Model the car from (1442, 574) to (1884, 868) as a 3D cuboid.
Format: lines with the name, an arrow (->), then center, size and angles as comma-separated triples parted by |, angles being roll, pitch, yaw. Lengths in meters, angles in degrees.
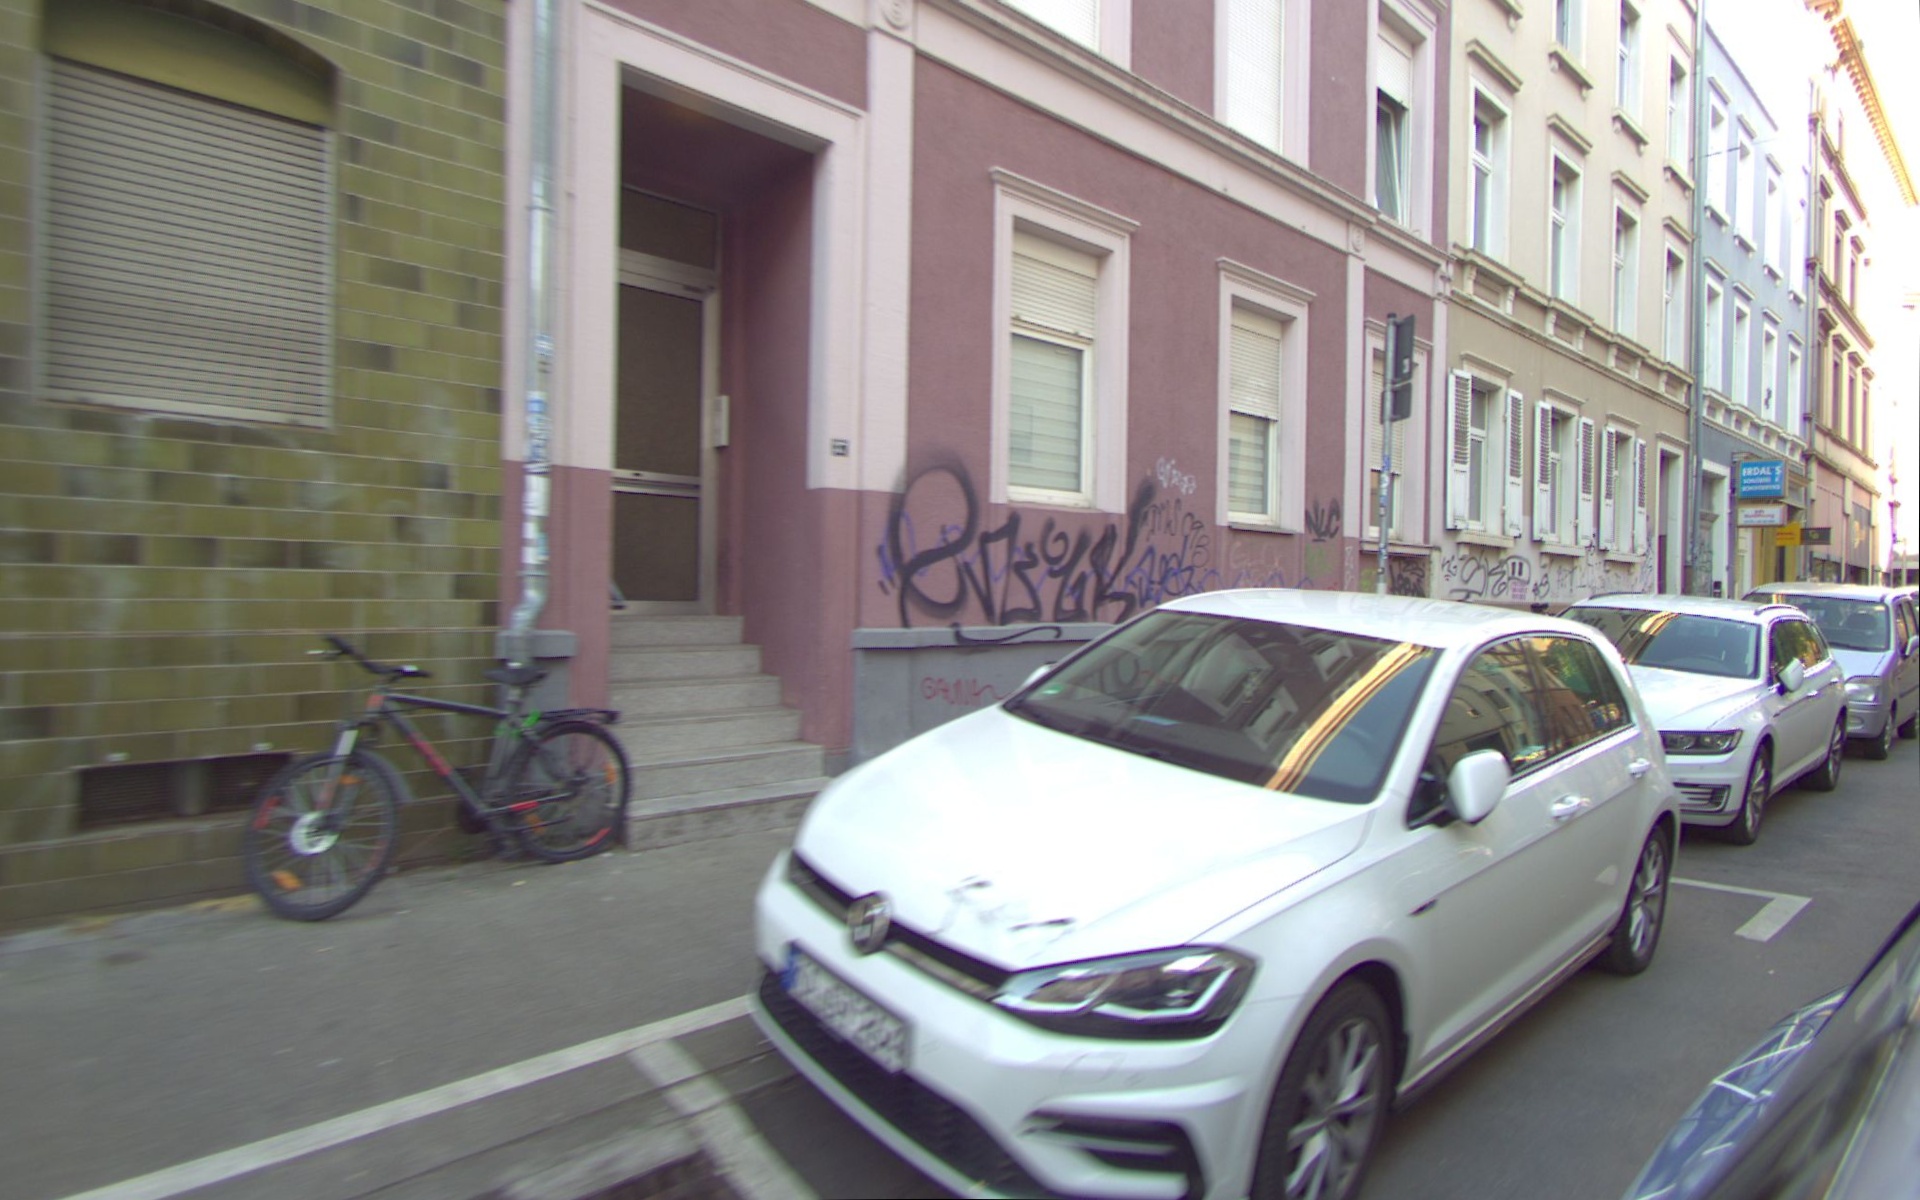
car -> 5.540, 0.631, 7.711 | 4.549, 1.562, 1.700 | -1, 3, -42

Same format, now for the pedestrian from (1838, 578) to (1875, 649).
pedestrian -> 22.832, 0.331, 25.779 | 0.627, 1.762, 0.650 | -1, 0, 37

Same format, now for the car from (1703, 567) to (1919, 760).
car -> 9.360, 0.557, 10.846 | 3.497, 1.733, 1.559 | -1, 0, -42

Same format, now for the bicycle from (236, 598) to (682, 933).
bicycle -> -2.094, 0.593, 4.385 | 1.656, 1.188, 0.522 | -1, 0, -42

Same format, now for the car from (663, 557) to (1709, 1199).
car -> 1.165, 0.680, 3.689 | 3.976, 1.562, 1.690 | -1, 3, -42

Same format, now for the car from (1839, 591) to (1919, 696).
car -> 15.275, 0.625, 16.152 | 3.552, 1.530, 1.553 | -1, 0, -44

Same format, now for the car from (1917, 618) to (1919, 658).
car -> 23.765, 0.586, 23.640 | 3.254, 1.575, 1.574 | -1, 4, -39

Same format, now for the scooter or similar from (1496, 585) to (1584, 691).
scooter or similar -> 7.091, 0.436, 12.351 | 1.345, 1.197, 0.451 | -1, 5, -42

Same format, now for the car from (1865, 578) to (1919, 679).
car -> 19.107, 0.494, 19.574 | 4.240, 1.816, 1.902 | -1, 0, -42

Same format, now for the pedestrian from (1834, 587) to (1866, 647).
pedestrian -> 23.185, 0.427, 26.369 | 0.587, 1.549, 0.648 | -1, 0, 44
